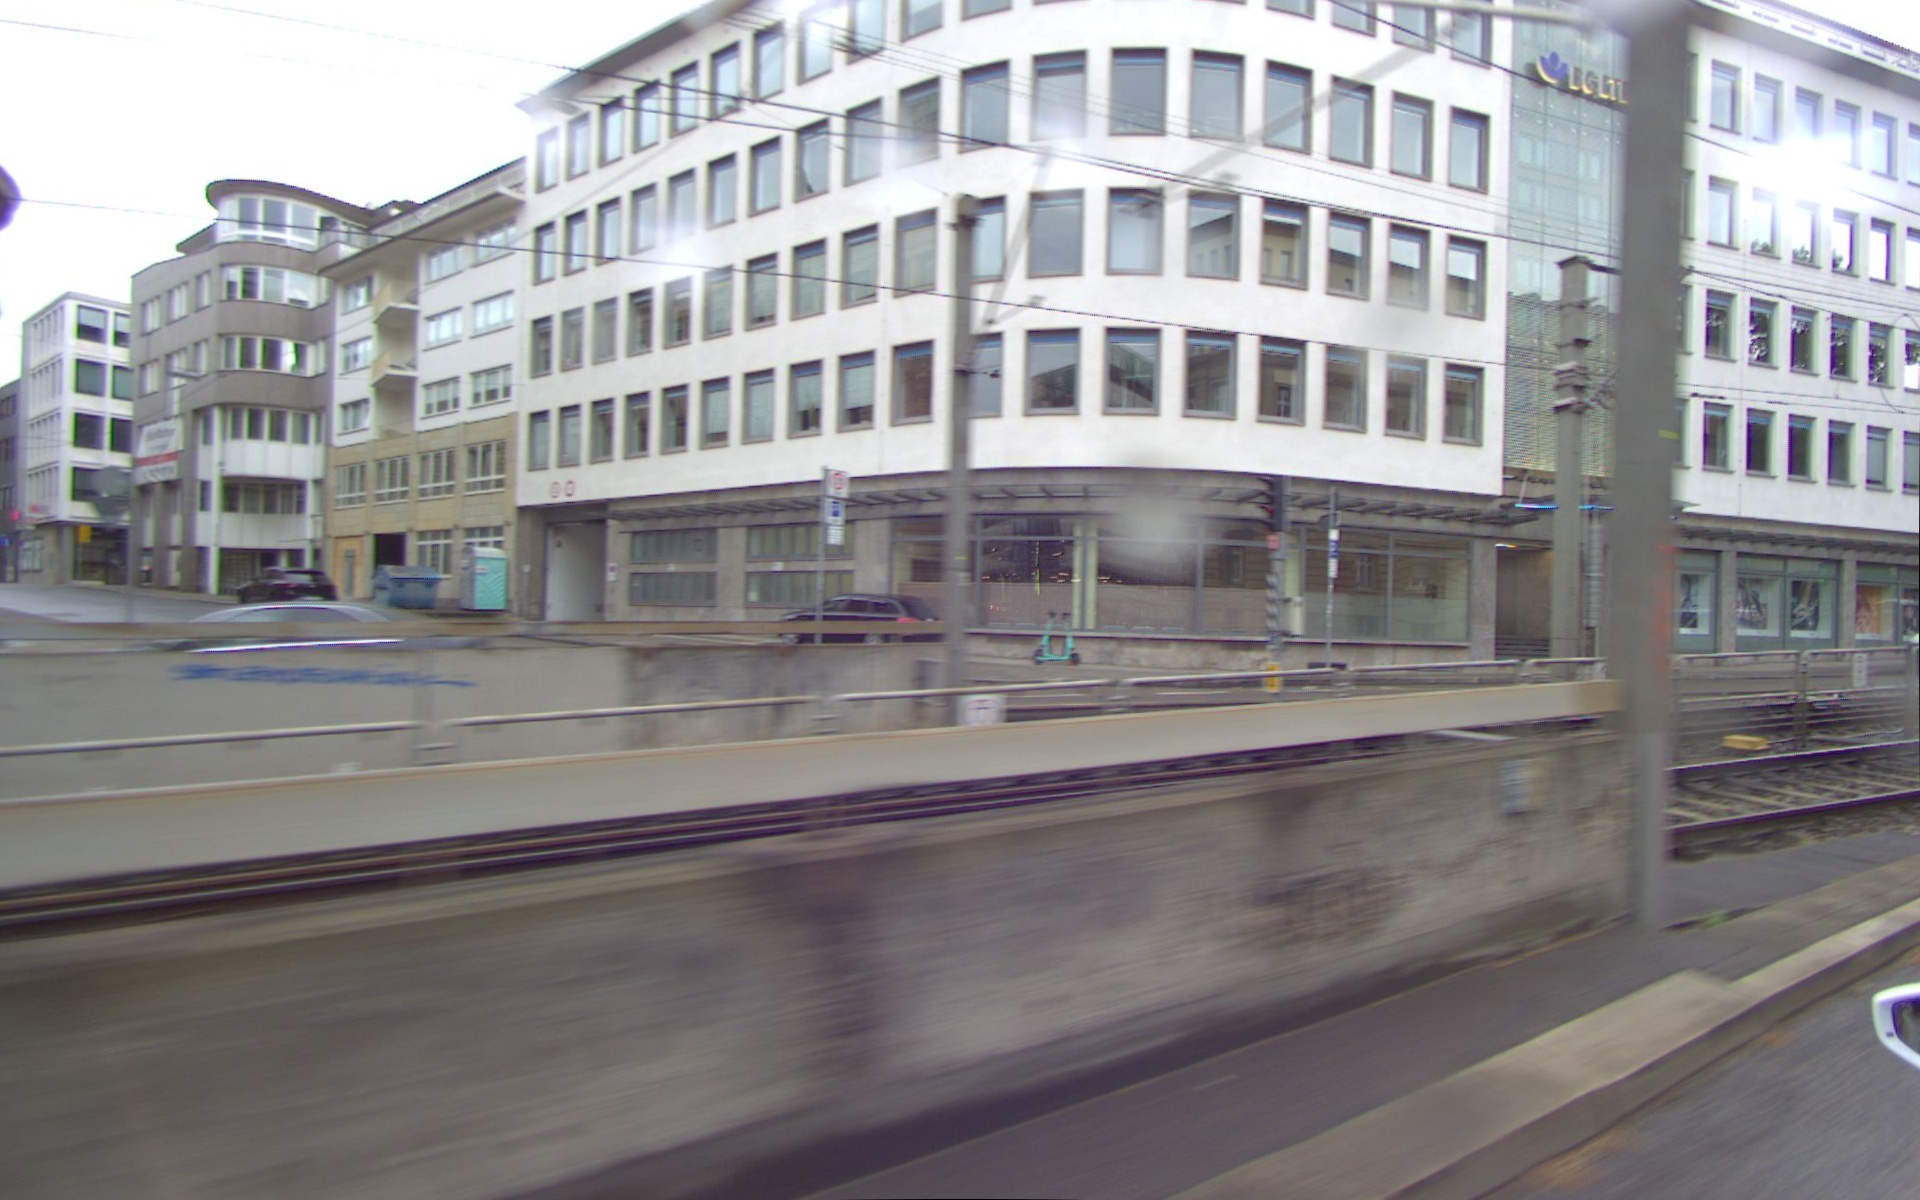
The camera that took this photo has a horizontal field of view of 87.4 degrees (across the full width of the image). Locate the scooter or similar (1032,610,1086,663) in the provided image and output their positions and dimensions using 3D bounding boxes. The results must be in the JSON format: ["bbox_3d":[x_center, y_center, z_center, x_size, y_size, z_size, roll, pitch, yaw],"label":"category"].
[{"bbox_3d":[2.315,0.851,23.553,1.165,1.194,0.547,1,1,-6],"label":"scooter or similar"}]

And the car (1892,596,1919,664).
[{"bbox_3d":[29.249,0.872,28.664,4.854,1.908,1.990,0,0,-22],"label":"car"}]

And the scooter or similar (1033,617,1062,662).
[{"bbox_3d":[2.119,0.952,24.335,0.537,1.058,0.823,1,1,-6],"label":"scooter or similar"}]

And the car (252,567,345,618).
[{"bbox_3d":[-22.248,-0.203,33.731,1.986,1.438,3.950,1,-4,-43],"label":"car"}]

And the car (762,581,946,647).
[{"bbox_3d":[-2.743,0.420,25.506,4.700,1.542,1.671,-2,-3,34],"label":"car"}]

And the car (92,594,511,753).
[{"bbox_3d":[-7.138,0.727,11.394,3.608,1.548,1.990,0,0,-22],"label":"car"}]
